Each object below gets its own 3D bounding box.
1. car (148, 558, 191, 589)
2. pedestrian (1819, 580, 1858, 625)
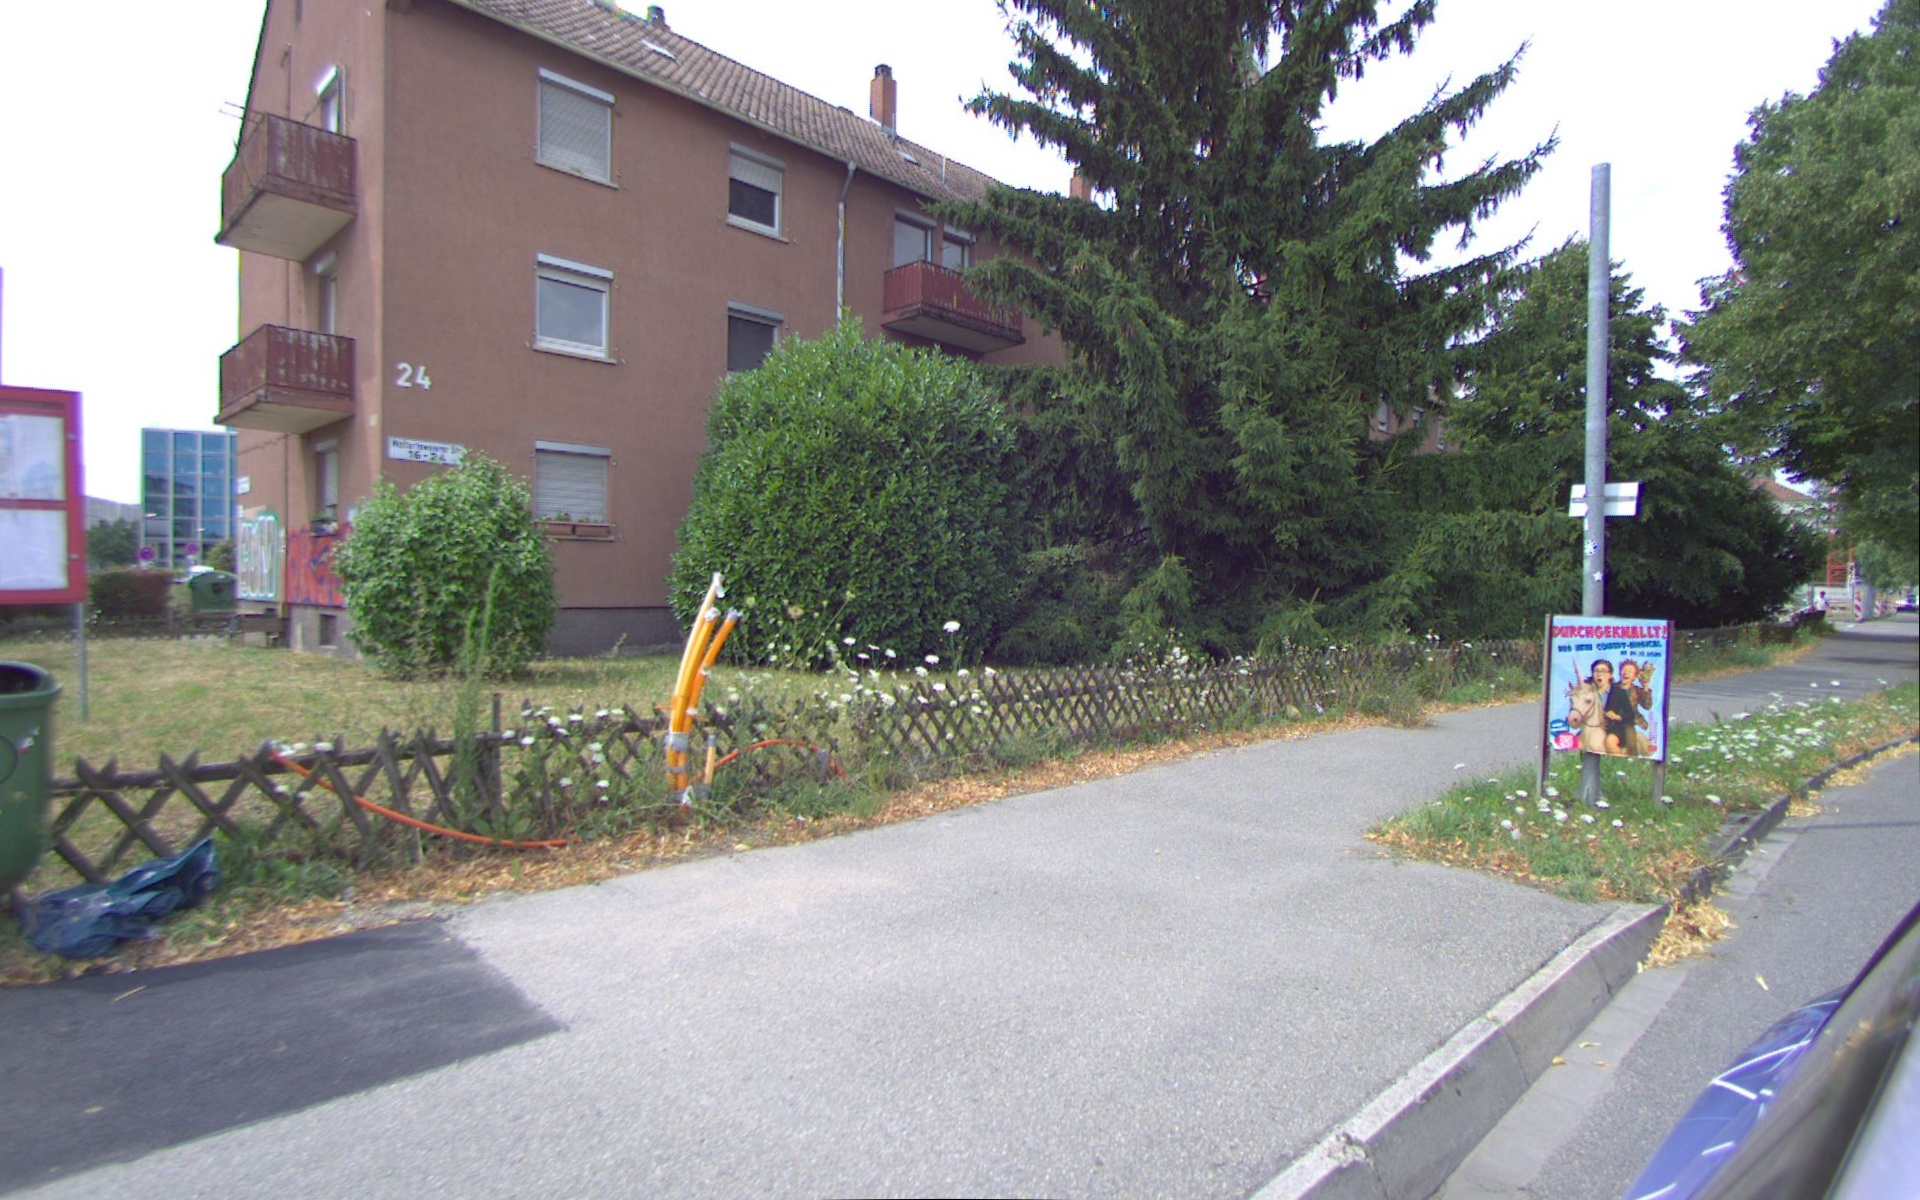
[{"bbox_3d":[-83.241,-2.812,106.700,2.560,3.120,5.877,-2,3,-29],"label":"car"},{"bbox_3d":[37.042,0.089,42.666,0.870,1.836,0.887,1,2,-27],"label":"pedestrian"}]
